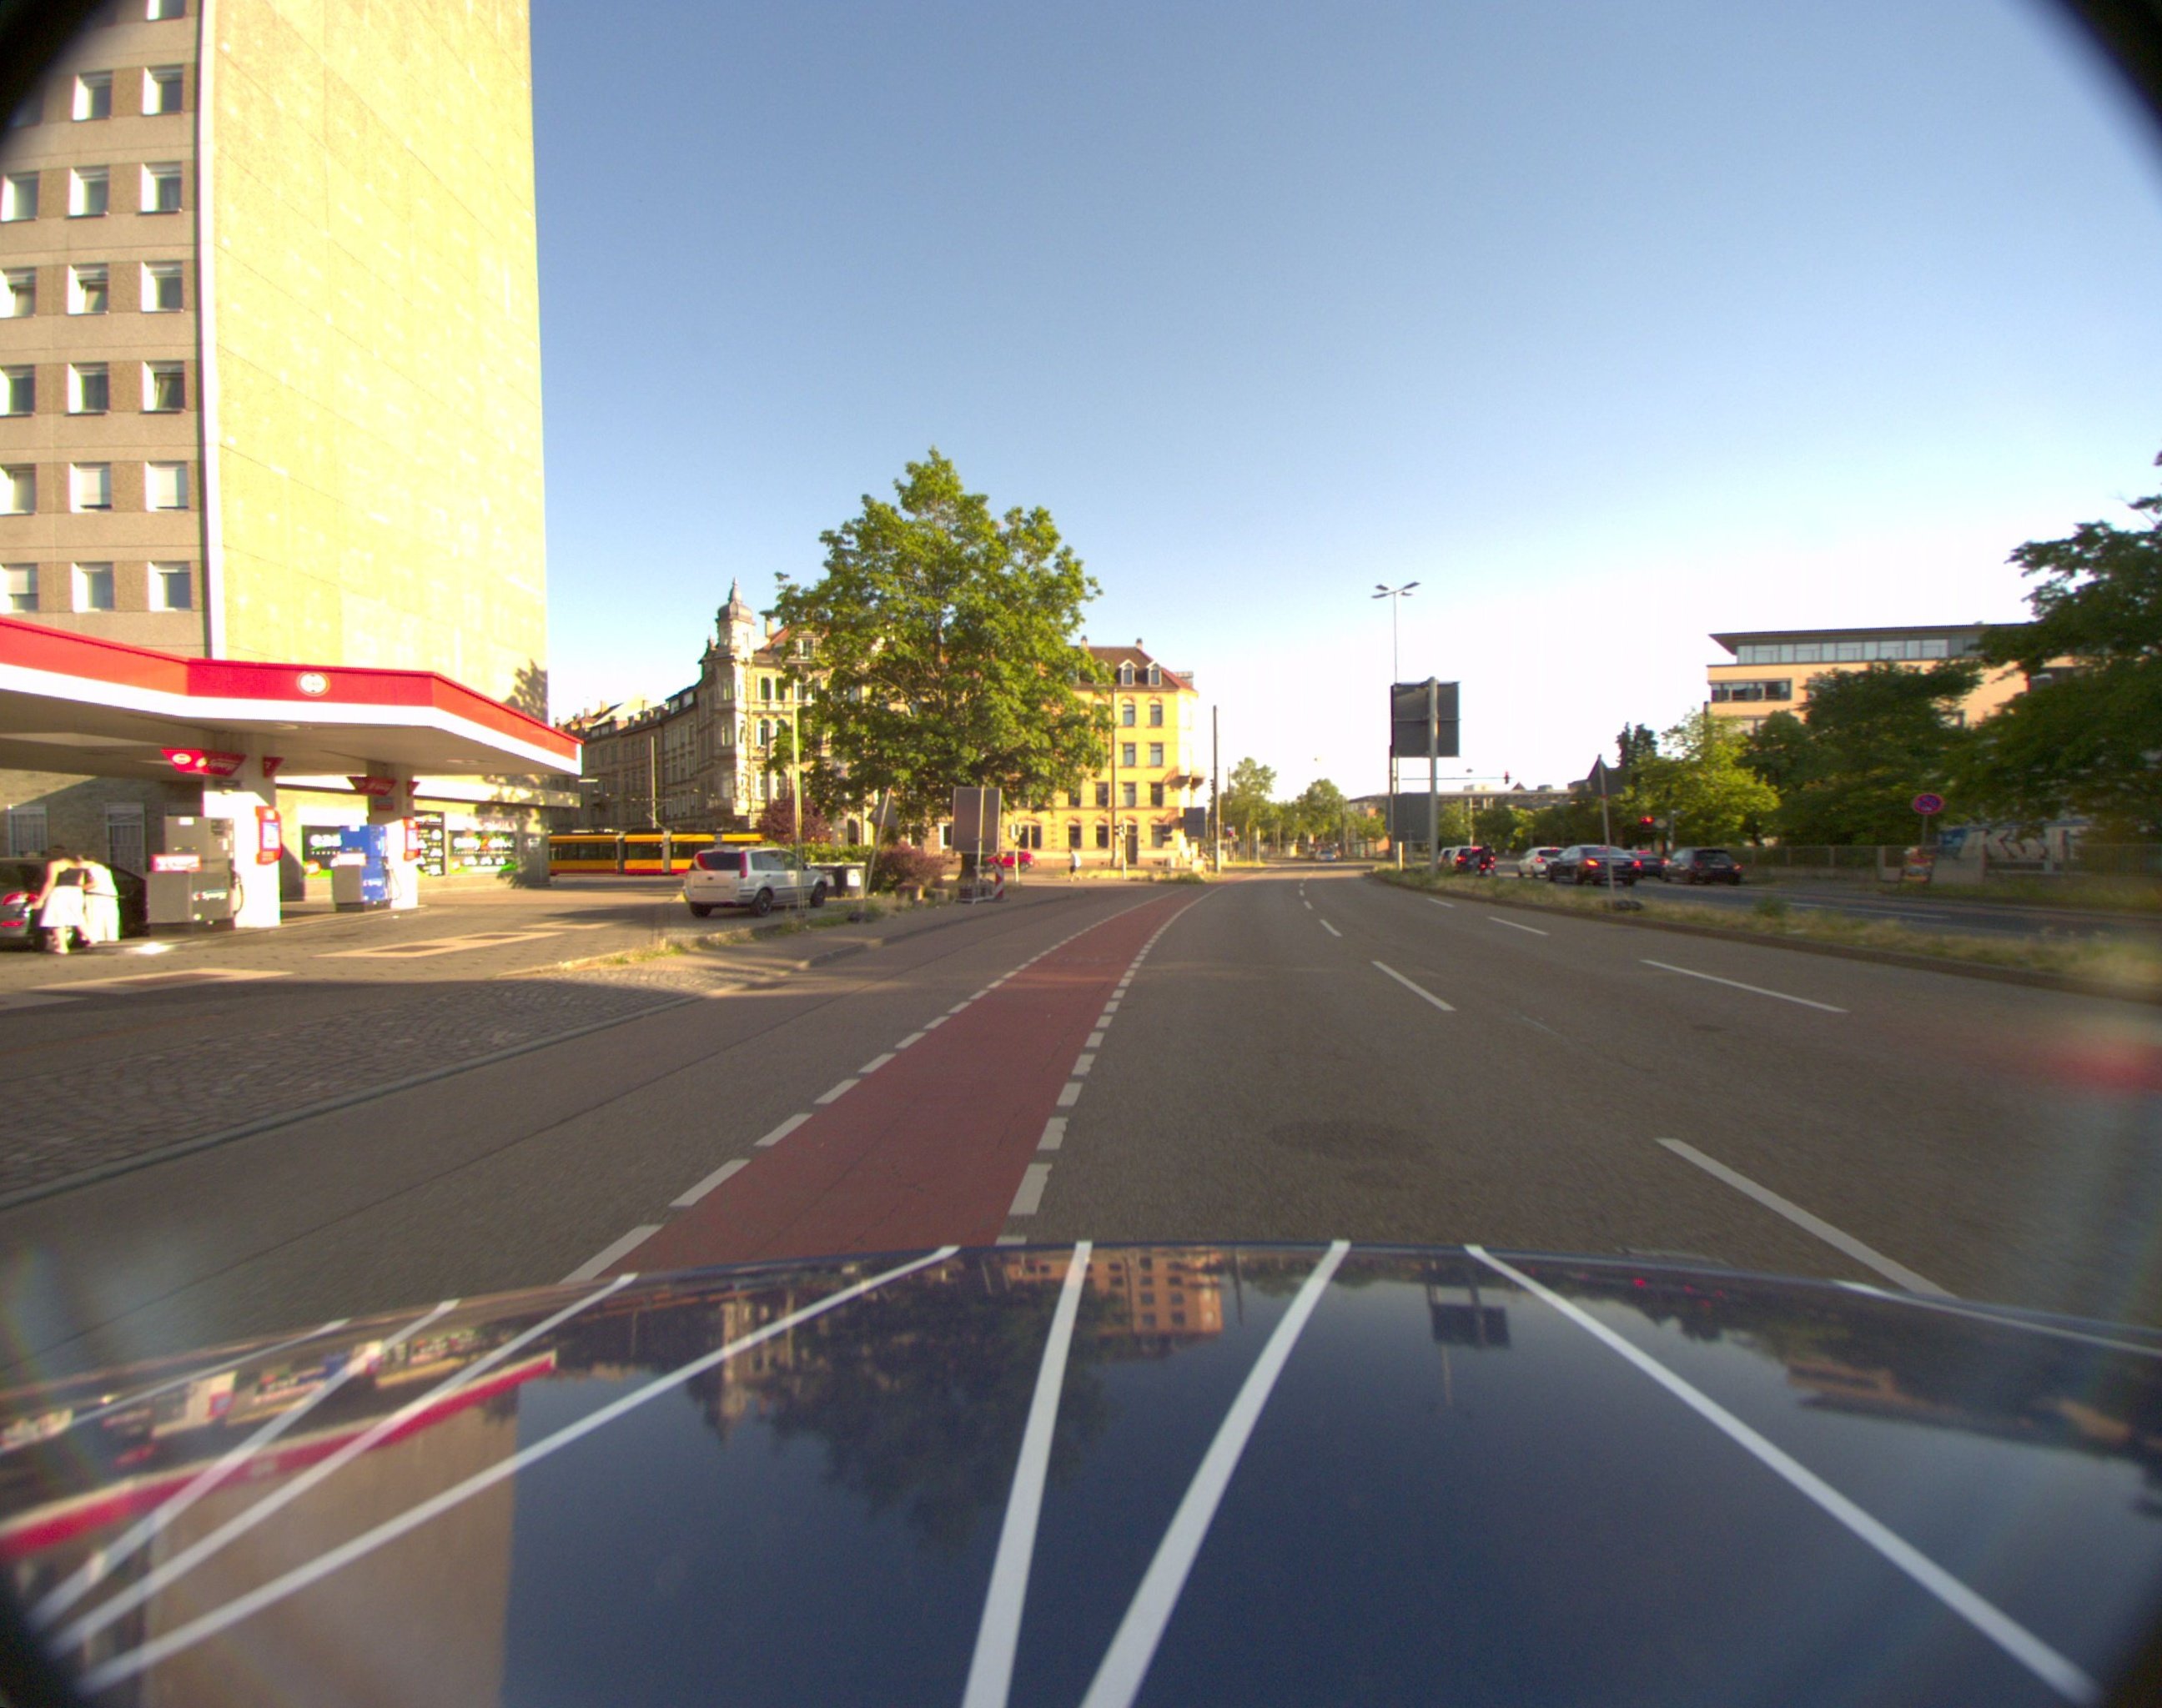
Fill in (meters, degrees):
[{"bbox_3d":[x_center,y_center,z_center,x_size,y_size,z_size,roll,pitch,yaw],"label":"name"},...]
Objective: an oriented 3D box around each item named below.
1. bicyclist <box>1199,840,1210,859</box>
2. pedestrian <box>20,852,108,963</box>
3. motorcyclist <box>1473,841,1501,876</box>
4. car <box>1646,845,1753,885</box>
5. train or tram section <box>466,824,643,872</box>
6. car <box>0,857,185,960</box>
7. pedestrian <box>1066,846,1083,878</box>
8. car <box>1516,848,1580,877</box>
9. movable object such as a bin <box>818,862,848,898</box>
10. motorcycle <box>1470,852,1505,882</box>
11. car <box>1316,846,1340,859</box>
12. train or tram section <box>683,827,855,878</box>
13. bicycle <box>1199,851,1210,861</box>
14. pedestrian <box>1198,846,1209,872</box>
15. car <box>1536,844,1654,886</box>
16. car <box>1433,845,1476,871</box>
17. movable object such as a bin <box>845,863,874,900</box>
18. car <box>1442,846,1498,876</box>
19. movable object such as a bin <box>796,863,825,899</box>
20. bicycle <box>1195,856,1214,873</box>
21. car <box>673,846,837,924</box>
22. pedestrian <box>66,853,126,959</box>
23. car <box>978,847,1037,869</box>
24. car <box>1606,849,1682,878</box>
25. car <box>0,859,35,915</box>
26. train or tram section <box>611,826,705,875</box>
[{"bbox_3d":[12.307,-0.457,75.886,1.070,1.831,1.304,0,1,9],"label":"bicyclist"},{"bbox_3d":[-15.169,0.775,11.347,0.534,1.612,0.567,-1,1,-21],"label":"pedestrian"},{"bbox_3d":[16.234,0.171,30.400,0.852,1.390,1.063,0,1,19],"label":"motorcyclist"},{"bbox_3d":[24.638,0.397,30.463,1.856,1.455,4.004,-1,1,15],"label":"car"},{"bbox_3d":[-39.857,-0.409,57.506,12.991,3.488,2.872,0,1,13],"label":"train or tram section"},{"bbox_3d":[-16.794,0.797,12.286,1.592,1.431,3.295,-1,1,-22],"label":"car"},{"bbox_3d":[-0.362,0.429,41.947,0.826,1.778,0.912,0,1,3],"label":"pedestrian"},{"bbox_3d":[22.339,0.367,36.512,1.721,1.311,3.899,0,1,17],"label":"car"},{"bbox_3d":[-7.239,0.760,22.180,0.573,1.023,0.674,0,1,6],"label":"movable object such as a bin"},{"bbox_3d":[16.248,0.499,30.433,0.859,1.101,2.473,0,1,19],"label":"motorcycle"},{"bbox_3d":[29.847,-0.215,91.986,1.997,1.565,4.001,0,1,6],"label":"car"},{"bbox_3d":[-22.537,-0.132,55.290,11.288,3.488,2.869,-1,1,0],"label":"train or tram section"},{"bbox_3d":[12.310,0.189,75.848,1.070,1.018,2.977,0,1,9],"label":"bicycle"},{"bbox_3d":[7.680,0.341,47.769,0.488,1.622,0.526,0,1,38],"label":"pedestrian"},{"bbox_3d":[19.592,0.355,29.286,1.996,1.487,5.297,0,1,13],"label":"car"},{"bbox_3d":[20.139,0.194,41.106,1.720,1.289,4.255,0,1,21],"label":"car"},{"bbox_3d":[-6.410,0.789,21.986,0.573,1.023,0.674,0,1,6],"label":"movable object such as a bin"},{"bbox_3d":[17.712,0.280,34.769,1.720,1.289,4.383,0,1,19],"label":"car"},{"bbox_3d":[-7.902,0.777,22.217,0.521,1.023,0.586,0,1,27],"label":"movable object such as a bin"},{"bbox_3d":[7.772,0.653,47.738,0.398,1.023,1.675,0,1,38],"label":"bicycle"},{"bbox_3d":[-7.411,0.632,17.719,1.622,1.585,3.896,0,1,9],"label":"car"},{"bbox_3d":[-15.489,0.791,11.959,0.567,1.612,0.535,0,1,37],"label":"pedestrian"},{"bbox_3d":[-5.665,0.283,59.209,4.463,1.605,1.821,-1,1,-3],"label":"car"},{"bbox_3d":[26.781,0.399,36.261,1.721,1.289,3.899,0,1,17],"label":"car"},{"bbox_3d":[-29.596,0.870,19.037,3.997,1.440,2.000,-1,1,1],"label":"car"},{"bbox_3d":[-30.888,-0.234,55.635,5.295,3.488,2.871,0,1,9],"label":"train or tram section"}]
